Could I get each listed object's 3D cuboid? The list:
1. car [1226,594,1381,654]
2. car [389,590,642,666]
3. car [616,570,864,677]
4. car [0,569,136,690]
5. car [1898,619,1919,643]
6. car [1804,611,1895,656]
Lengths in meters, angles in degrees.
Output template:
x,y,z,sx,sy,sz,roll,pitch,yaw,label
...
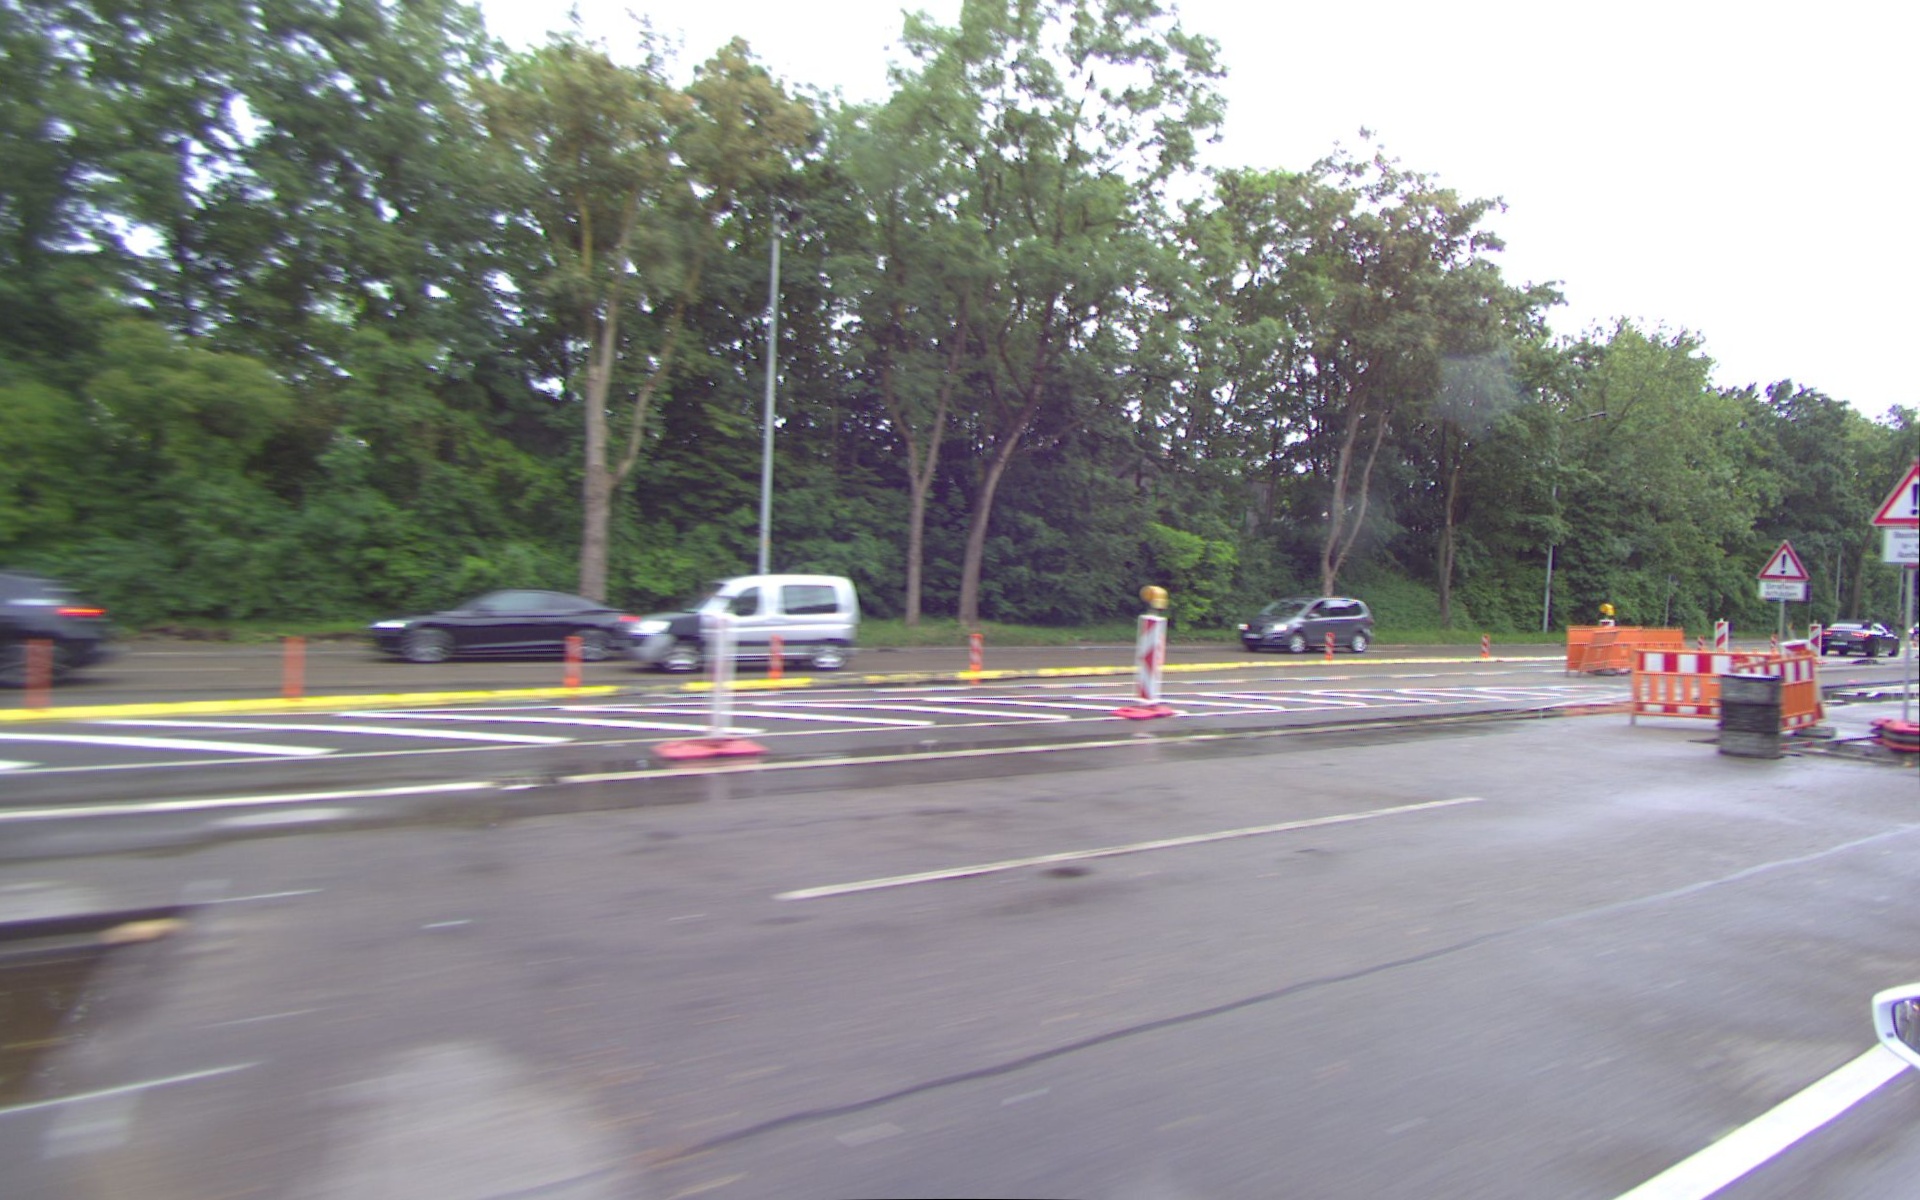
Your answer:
x,y,z,sx,sy,sz,roll,pitch,yaw,label
10.423,0.727,30.433,4.598,1.687,1.918,1,0,-31,car
-8.262,0.517,18.810,4.183,1.280,1.419,1,0,-33,car
-3.863,0.418,17.913,4.084,1.718,1.419,1,0,-32,car
-12.397,0.334,11.994,3.785,1.426,1.419,1,0,-34,car
69.972,2.264,72.645,4.598,1.687,1.918,1,0,-31,car
35.822,1.312,40.442,3.960,1.512,1.849,-2,4,-35,car
